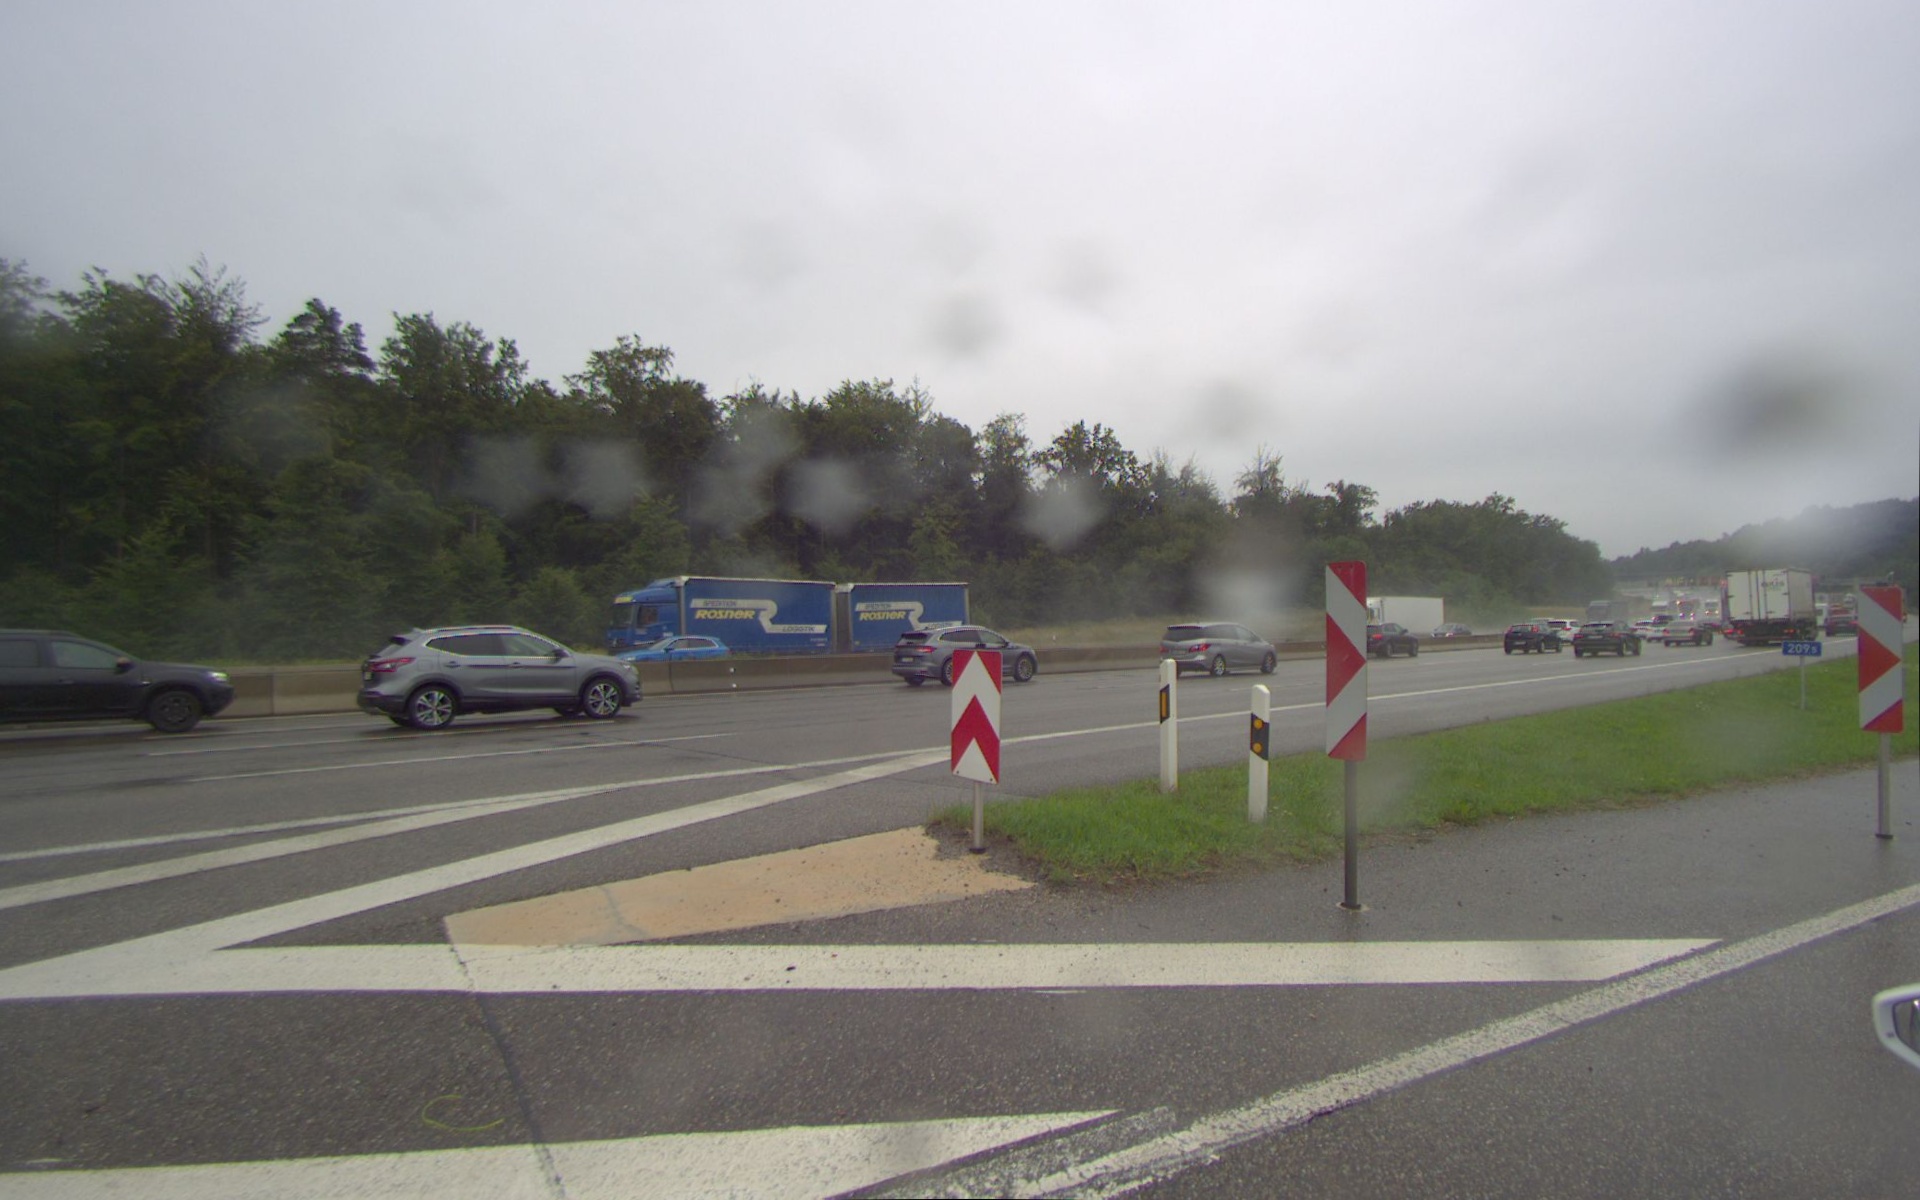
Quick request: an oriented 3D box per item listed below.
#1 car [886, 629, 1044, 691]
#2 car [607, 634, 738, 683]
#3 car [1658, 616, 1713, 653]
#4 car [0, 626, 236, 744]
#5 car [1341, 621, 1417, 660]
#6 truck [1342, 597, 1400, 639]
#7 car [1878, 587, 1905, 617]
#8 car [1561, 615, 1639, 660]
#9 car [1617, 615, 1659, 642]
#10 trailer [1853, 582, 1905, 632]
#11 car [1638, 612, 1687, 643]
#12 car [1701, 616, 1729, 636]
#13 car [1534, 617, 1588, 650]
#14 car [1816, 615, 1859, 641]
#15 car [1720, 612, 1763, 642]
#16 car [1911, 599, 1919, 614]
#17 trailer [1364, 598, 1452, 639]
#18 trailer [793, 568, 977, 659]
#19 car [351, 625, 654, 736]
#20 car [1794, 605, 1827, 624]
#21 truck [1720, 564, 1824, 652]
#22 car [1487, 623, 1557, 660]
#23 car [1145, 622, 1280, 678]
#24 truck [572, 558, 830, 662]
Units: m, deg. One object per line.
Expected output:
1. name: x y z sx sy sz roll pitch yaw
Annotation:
1. car: 0.201 1.650 28.337 4.423 1.594 1.704 1 -3 -40
2. car: -10.754 2.156 37.746 4.335 1.741 1.977 2 -4 -41
3. car: 40.724 1.901 56.347 4.306 1.997 1.771 1 -2 -44
4. car: -14.096 1.288 15.615 4.428 1.685 1.908 1 -3 -44
5. car: 19.861 1.914 47.555 4.070 1.758 1.760 1 -3 -43
6. truck: 35.206 1.584 86.020 5.564 3.497 2.620 1 -2 -45
7. car: 115.231 0.266 124.299 2.346 3.532 4.789 2 1 42
8. car: 26.563 1.551 41.645 3.819 1.759 1.760 1 -3 -43
9. car: 53.914 2.239 79.855 3.972 2.040 1.975 1 -3 -43
10. trailer: 90.538 0.804 99.123 3.509 4.672 12.055 -3 -3 42
11. car: 48.140 1.889 68.816 3.972 2.040 1.975 1 -2 -43
12. car: 71.686 2.477 95.339 1.680 1.810 3.761 0 -1 45
13. car: 39.385 2.191 65.768 3.972 2.040 1.975 1 -3 -43
14. car: 63.515 2.003 72.661 3.972 1.840 1.974 1 0 -43
15. car: 54.946 1.874 70.583 1.973 2.040 3.976 -3 -3 44
16. car: 136.274 0.930 142.297 1.970 2.040 3.981 2 1 40
17. trailer: 41.089 1.698 91.802 13.397 3.543 2.622 1 -2 -45
18. trailer: -3.556 0.692 50.108 9.098 4.101 3.062 2 1 -42
19. car: -7.505 1.249 16.722 4.300 1.595 1.704 1 -3 -41
20. car: 84.446 1.429 99.705 3.969 1.840 1.976 0 0 -41
21. truck: 44.283 0.540 54.592 11.761 4.349 2.822 2 -3 -44
22. car: 27.586 2.008 49.249 4.069 1.759 1.760 1 -3 -42
23. car: 7.707 1.482 30.442 4.298 1.546 1.774 1 -3 -40
24. truck: -10.919 0.478 43.495 10.478 4.033 3.033 2 1 -42
